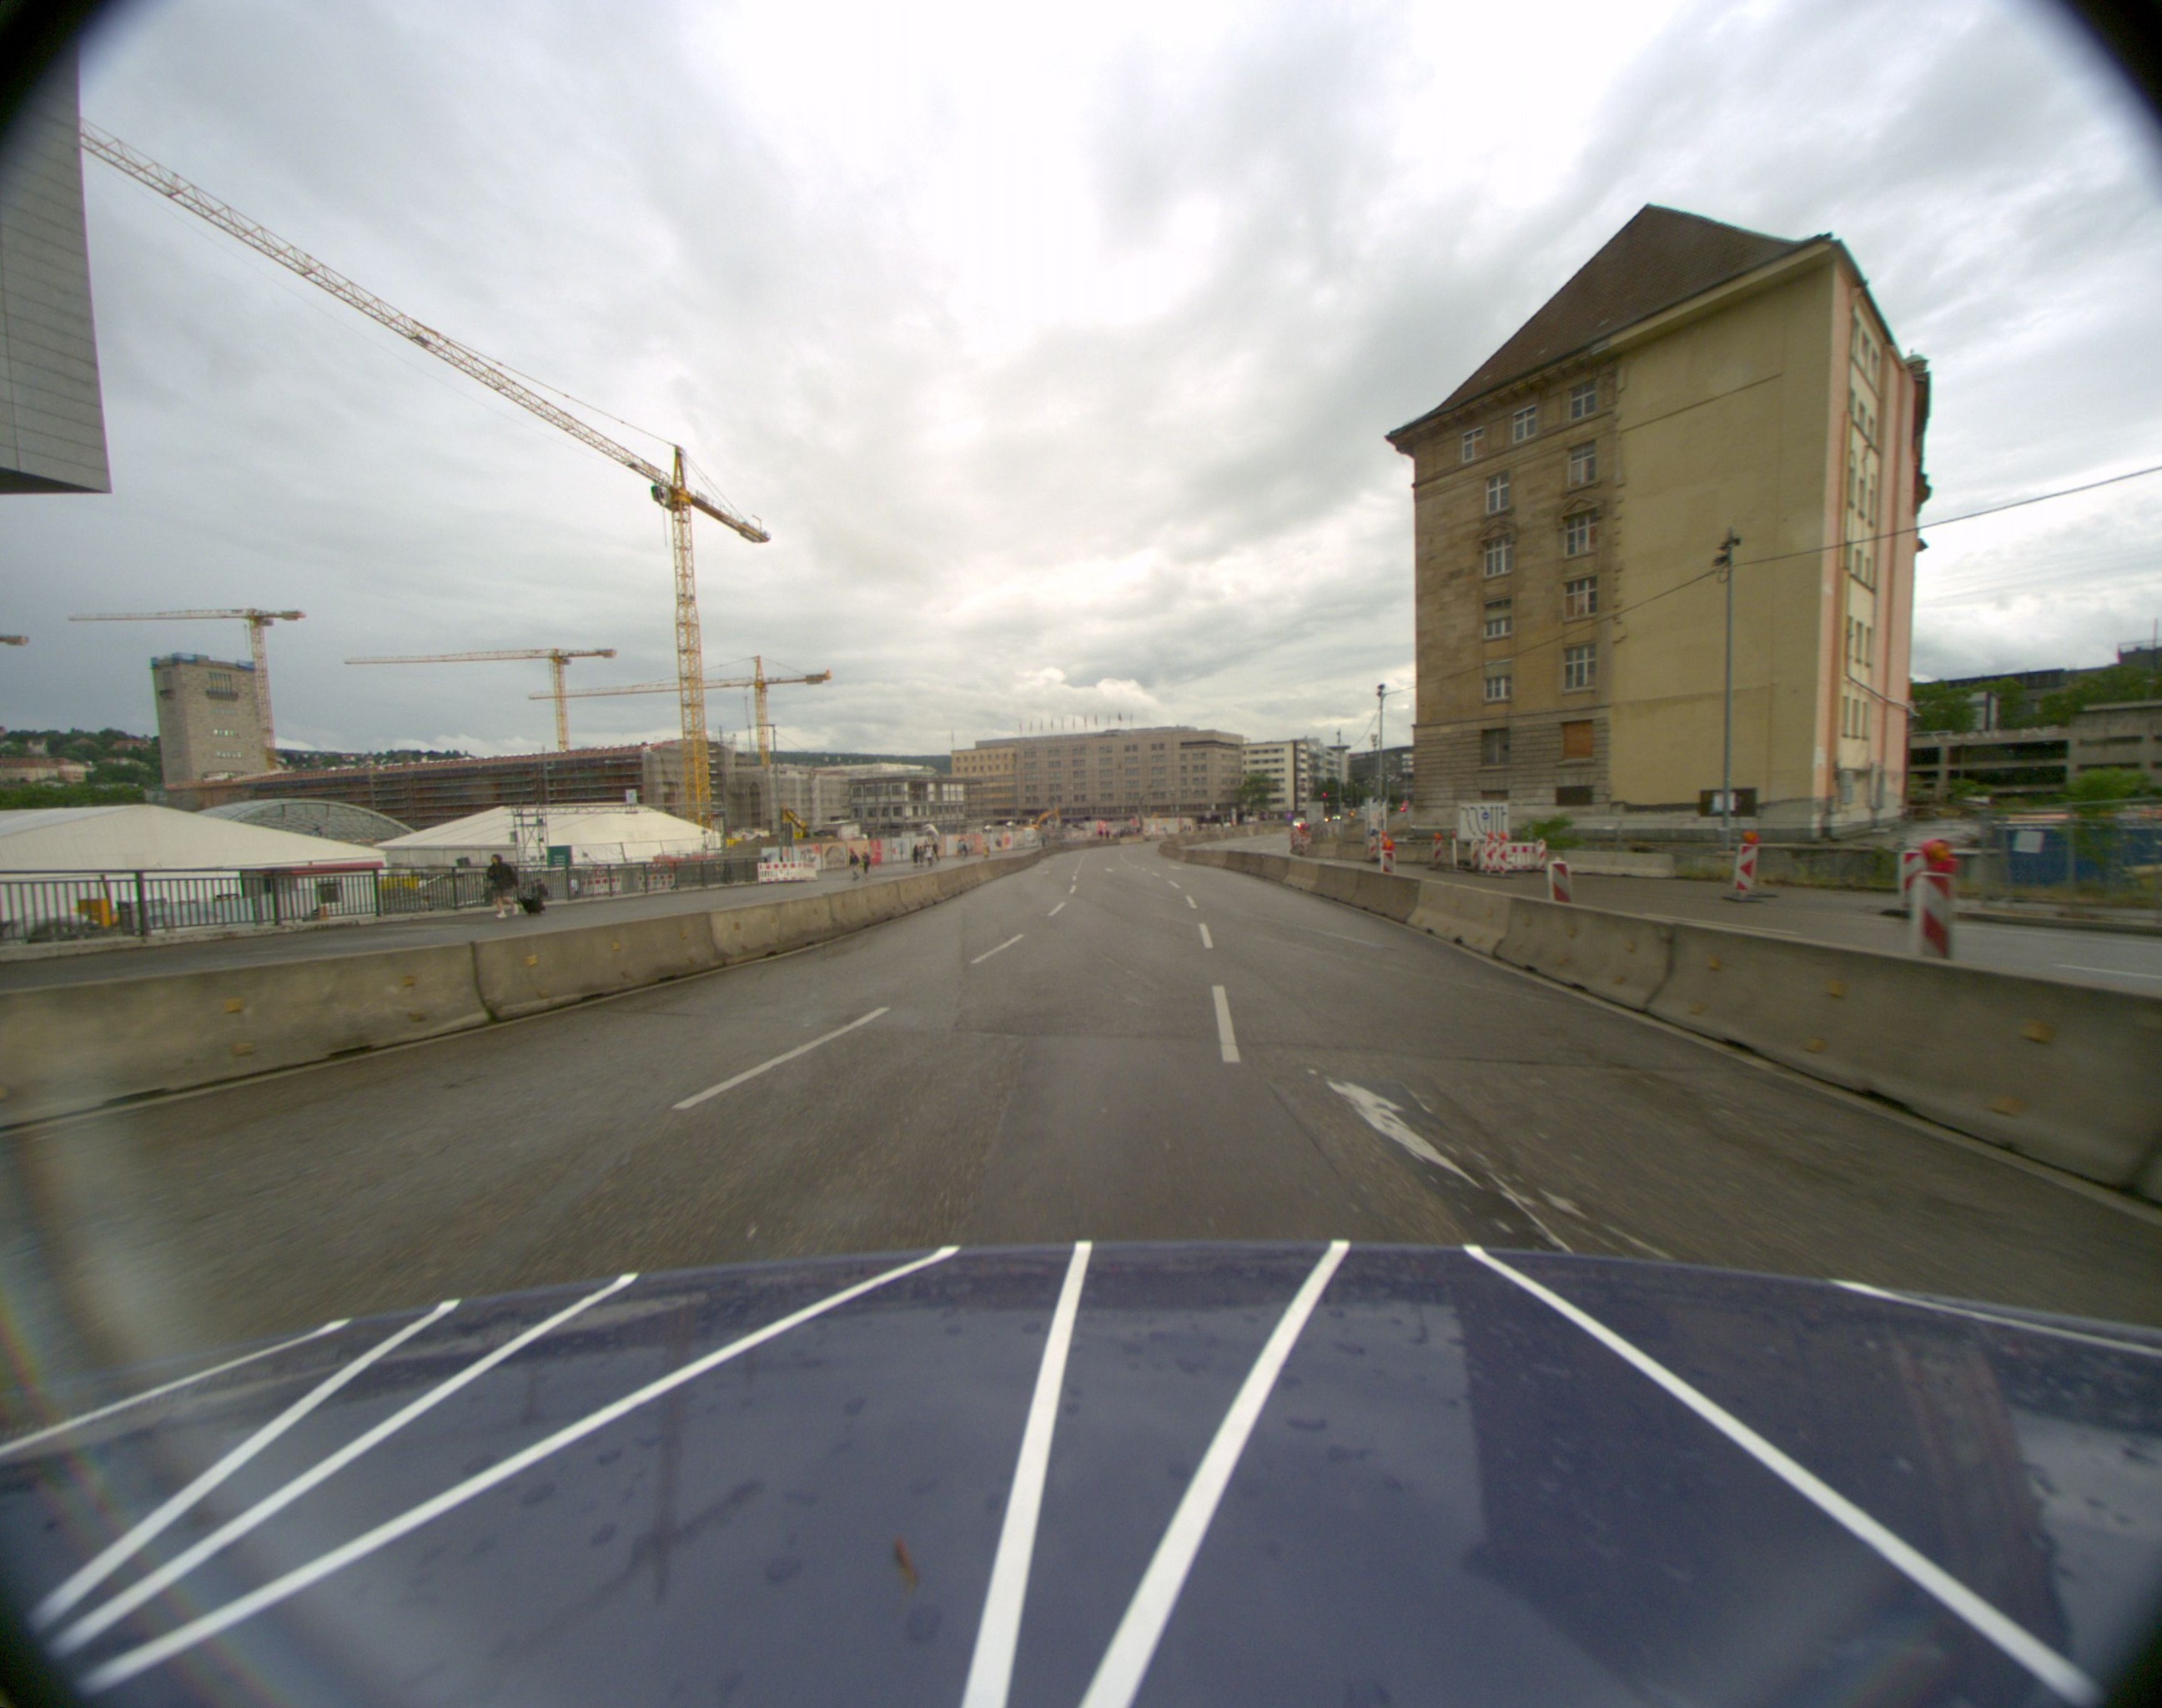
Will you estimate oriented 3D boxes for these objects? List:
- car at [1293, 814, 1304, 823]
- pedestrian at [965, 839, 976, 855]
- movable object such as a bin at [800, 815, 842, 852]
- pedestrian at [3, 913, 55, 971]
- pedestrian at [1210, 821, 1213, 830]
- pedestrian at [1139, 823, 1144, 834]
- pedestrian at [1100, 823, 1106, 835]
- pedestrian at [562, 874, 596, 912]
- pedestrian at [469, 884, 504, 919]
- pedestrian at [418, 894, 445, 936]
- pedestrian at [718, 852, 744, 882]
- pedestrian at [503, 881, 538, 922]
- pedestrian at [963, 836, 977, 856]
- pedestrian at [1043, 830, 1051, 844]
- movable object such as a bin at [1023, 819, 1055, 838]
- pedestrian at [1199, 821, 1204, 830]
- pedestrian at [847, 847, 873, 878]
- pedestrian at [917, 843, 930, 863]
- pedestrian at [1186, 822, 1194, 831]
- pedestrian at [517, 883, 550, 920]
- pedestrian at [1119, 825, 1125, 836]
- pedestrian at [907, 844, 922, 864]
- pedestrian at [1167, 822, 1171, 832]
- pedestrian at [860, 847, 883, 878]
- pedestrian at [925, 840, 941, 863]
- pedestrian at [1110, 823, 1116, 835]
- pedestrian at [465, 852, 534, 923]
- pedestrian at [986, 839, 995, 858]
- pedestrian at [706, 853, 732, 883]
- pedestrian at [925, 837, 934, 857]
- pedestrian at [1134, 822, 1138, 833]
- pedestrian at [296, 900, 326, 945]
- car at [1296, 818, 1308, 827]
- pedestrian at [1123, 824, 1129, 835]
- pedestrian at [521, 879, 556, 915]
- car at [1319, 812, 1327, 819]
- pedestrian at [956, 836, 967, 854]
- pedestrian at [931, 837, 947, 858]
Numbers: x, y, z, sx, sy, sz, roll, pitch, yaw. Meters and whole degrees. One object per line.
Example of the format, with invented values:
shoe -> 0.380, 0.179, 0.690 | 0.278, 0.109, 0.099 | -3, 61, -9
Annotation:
car -> 52.403, -8.464, 182.842 | 1.995, 2.002, 4.006 | 0, 1, 23
pedestrian -> -10.531, -0.686, 72.684 | 0.647, 1.545, 0.767 | 1, 4, 37
movable object such as a bin -> -25.240, -2.031, 73.896 | 1.941, 3.391, 4.231 | -1, 3, 8
pedestrian -> -35.501, 2.962, 25.659 | 0.642, 1.806, 0.754 | -4, 4, -30
pedestrian -> 26.334, -5.753, 153.473 | 0.653, 1.752, 0.549 | 1, 4, 12
pedestrian -> 9.645, -4.056, 120.950 | 0.648, 1.752, 0.584 | 1, 4, 12
pedestrian -> 3.124, -3.540, 108.416 | 0.648, 1.734, 0.766 | 1, 4, 14
pedestrian -> -24.720, 1.914, 37.404 | 0.866, 1.772, 1.009 | 0, 4, 30
pedestrian -> -28.822, 2.277, 36.838 | 0.866, 1.545, 1.009 | 0, 4, 30
pedestrian -> -27.163, 2.539, 31.769 | 0.753, 1.628, 0.586 | -5, 5, -41
pedestrian -> -20.866, 0.784, 45.351 | 0.866, 1.716, 1.009 | 0, 4, 30
pedestrian -> -26.205, 2.212, 35.538 | 0.771, 1.774, 1.009 | 0, 4, 30
pedestrian -> -10.342, -0.724, 70.679 | 0.818, 1.839, 0.933 | 1, 4, 37
pedestrian -> -4.067, -2.064, 91.731 | 0.745, 1.697, 0.687 | 1, 4, 15
movable object such as a bin -> -6.046, -3.706, 109.768 | 4.135, 2.522, 1.994 | -4, 4, -34
pedestrian -> 23.268, -5.512, 146.817 | 0.756, 1.752, 0.766 | 1, 4, 12
pedestrian -> -11.886, 0.466, 40.849 | 0.861, 1.585, 0.954 | 0, 4, 28
pedestrian -> -12.453, -0.061, 60.054 | 0.609, 1.514, 0.886 | 0, 4, 20
pedestrian -> 20.826, -5.246, 145.205 | 1.097, 1.752, 0.907 | 2, 4, 28
pedestrian -> -25.382, 2.195, 35.246 | 0.698, 1.628, 0.917 | 0, 4, 30
pedestrian -> 6.056, -3.459, 111.127 | 0.654, 1.682, 0.776 | 2, 4, 25
pedestrian -> -13.186, 0.007, 60.167 | 0.715, 1.545, 1.009 | 0, 4, 20
pedestrian -> 15.151, -4.674, 131.278 | 0.648, 1.660, 0.766 | 1, 4, 12
pedestrian -> -11.134, 0.453, 40.477 | 0.732, 1.566, 0.806 | -2, 3, 28
pedestrian -> -11.694, -0.206, 60.029 | 0.778, 1.713, 0.892 | 0, 4, 20
pedestrian -> 4.506, -3.526, 108.344 | 0.648, 1.637, 0.948 | 1, 4, 14
pedestrian -> -14.336, 0.807, 18.742 | 0.730, 1.643, 1.062 | 0, 3, 28
pedestrian -> -7.977, -0.512, 67.082 | 0.648, 1.624, 0.907 | -2, 4, 1
pedestrian -> -21.860, 0.830, 45.857 | 0.866, 1.680, 1.009 | 0, 4, 30
pedestrian -> -13.837, -0.633, 69.596 | 0.567, 1.739, 0.495 | 0, 4, 19
pedestrian -> 8.594, -4.104, 118.145 | 0.585, 1.699, 0.677 | 1, 4, 12
pedestrian -> -29.199, 2.578, 28.804 | 0.704, 1.607, 0.567 | 1, 4, 33
car -> 41.199, -5.802, 141.574 | 1.768, 1.513, 4.391 | 0, 3, 21
pedestrian -> 6.722, -3.696, 114.402 | 0.654, 1.682, 0.776 | 2, 4, 25
pedestrian -> -26.331, 2.068, 36.865 | 0.866, 1.628, 1.009 | 0, 4, 30
car -> 69.083, -10.949, 216.767 | 1.995, 1.839, 4.004 | 0, 3, 23
pedestrian -> -11.442, -0.889, 72.905 | 0.647, 1.646, 0.767 | 1, 4, 37
pedestrian -> -12.278, -0.581, 65.696 | 0.867, 1.808, 1.009 | 0, 4, 20
